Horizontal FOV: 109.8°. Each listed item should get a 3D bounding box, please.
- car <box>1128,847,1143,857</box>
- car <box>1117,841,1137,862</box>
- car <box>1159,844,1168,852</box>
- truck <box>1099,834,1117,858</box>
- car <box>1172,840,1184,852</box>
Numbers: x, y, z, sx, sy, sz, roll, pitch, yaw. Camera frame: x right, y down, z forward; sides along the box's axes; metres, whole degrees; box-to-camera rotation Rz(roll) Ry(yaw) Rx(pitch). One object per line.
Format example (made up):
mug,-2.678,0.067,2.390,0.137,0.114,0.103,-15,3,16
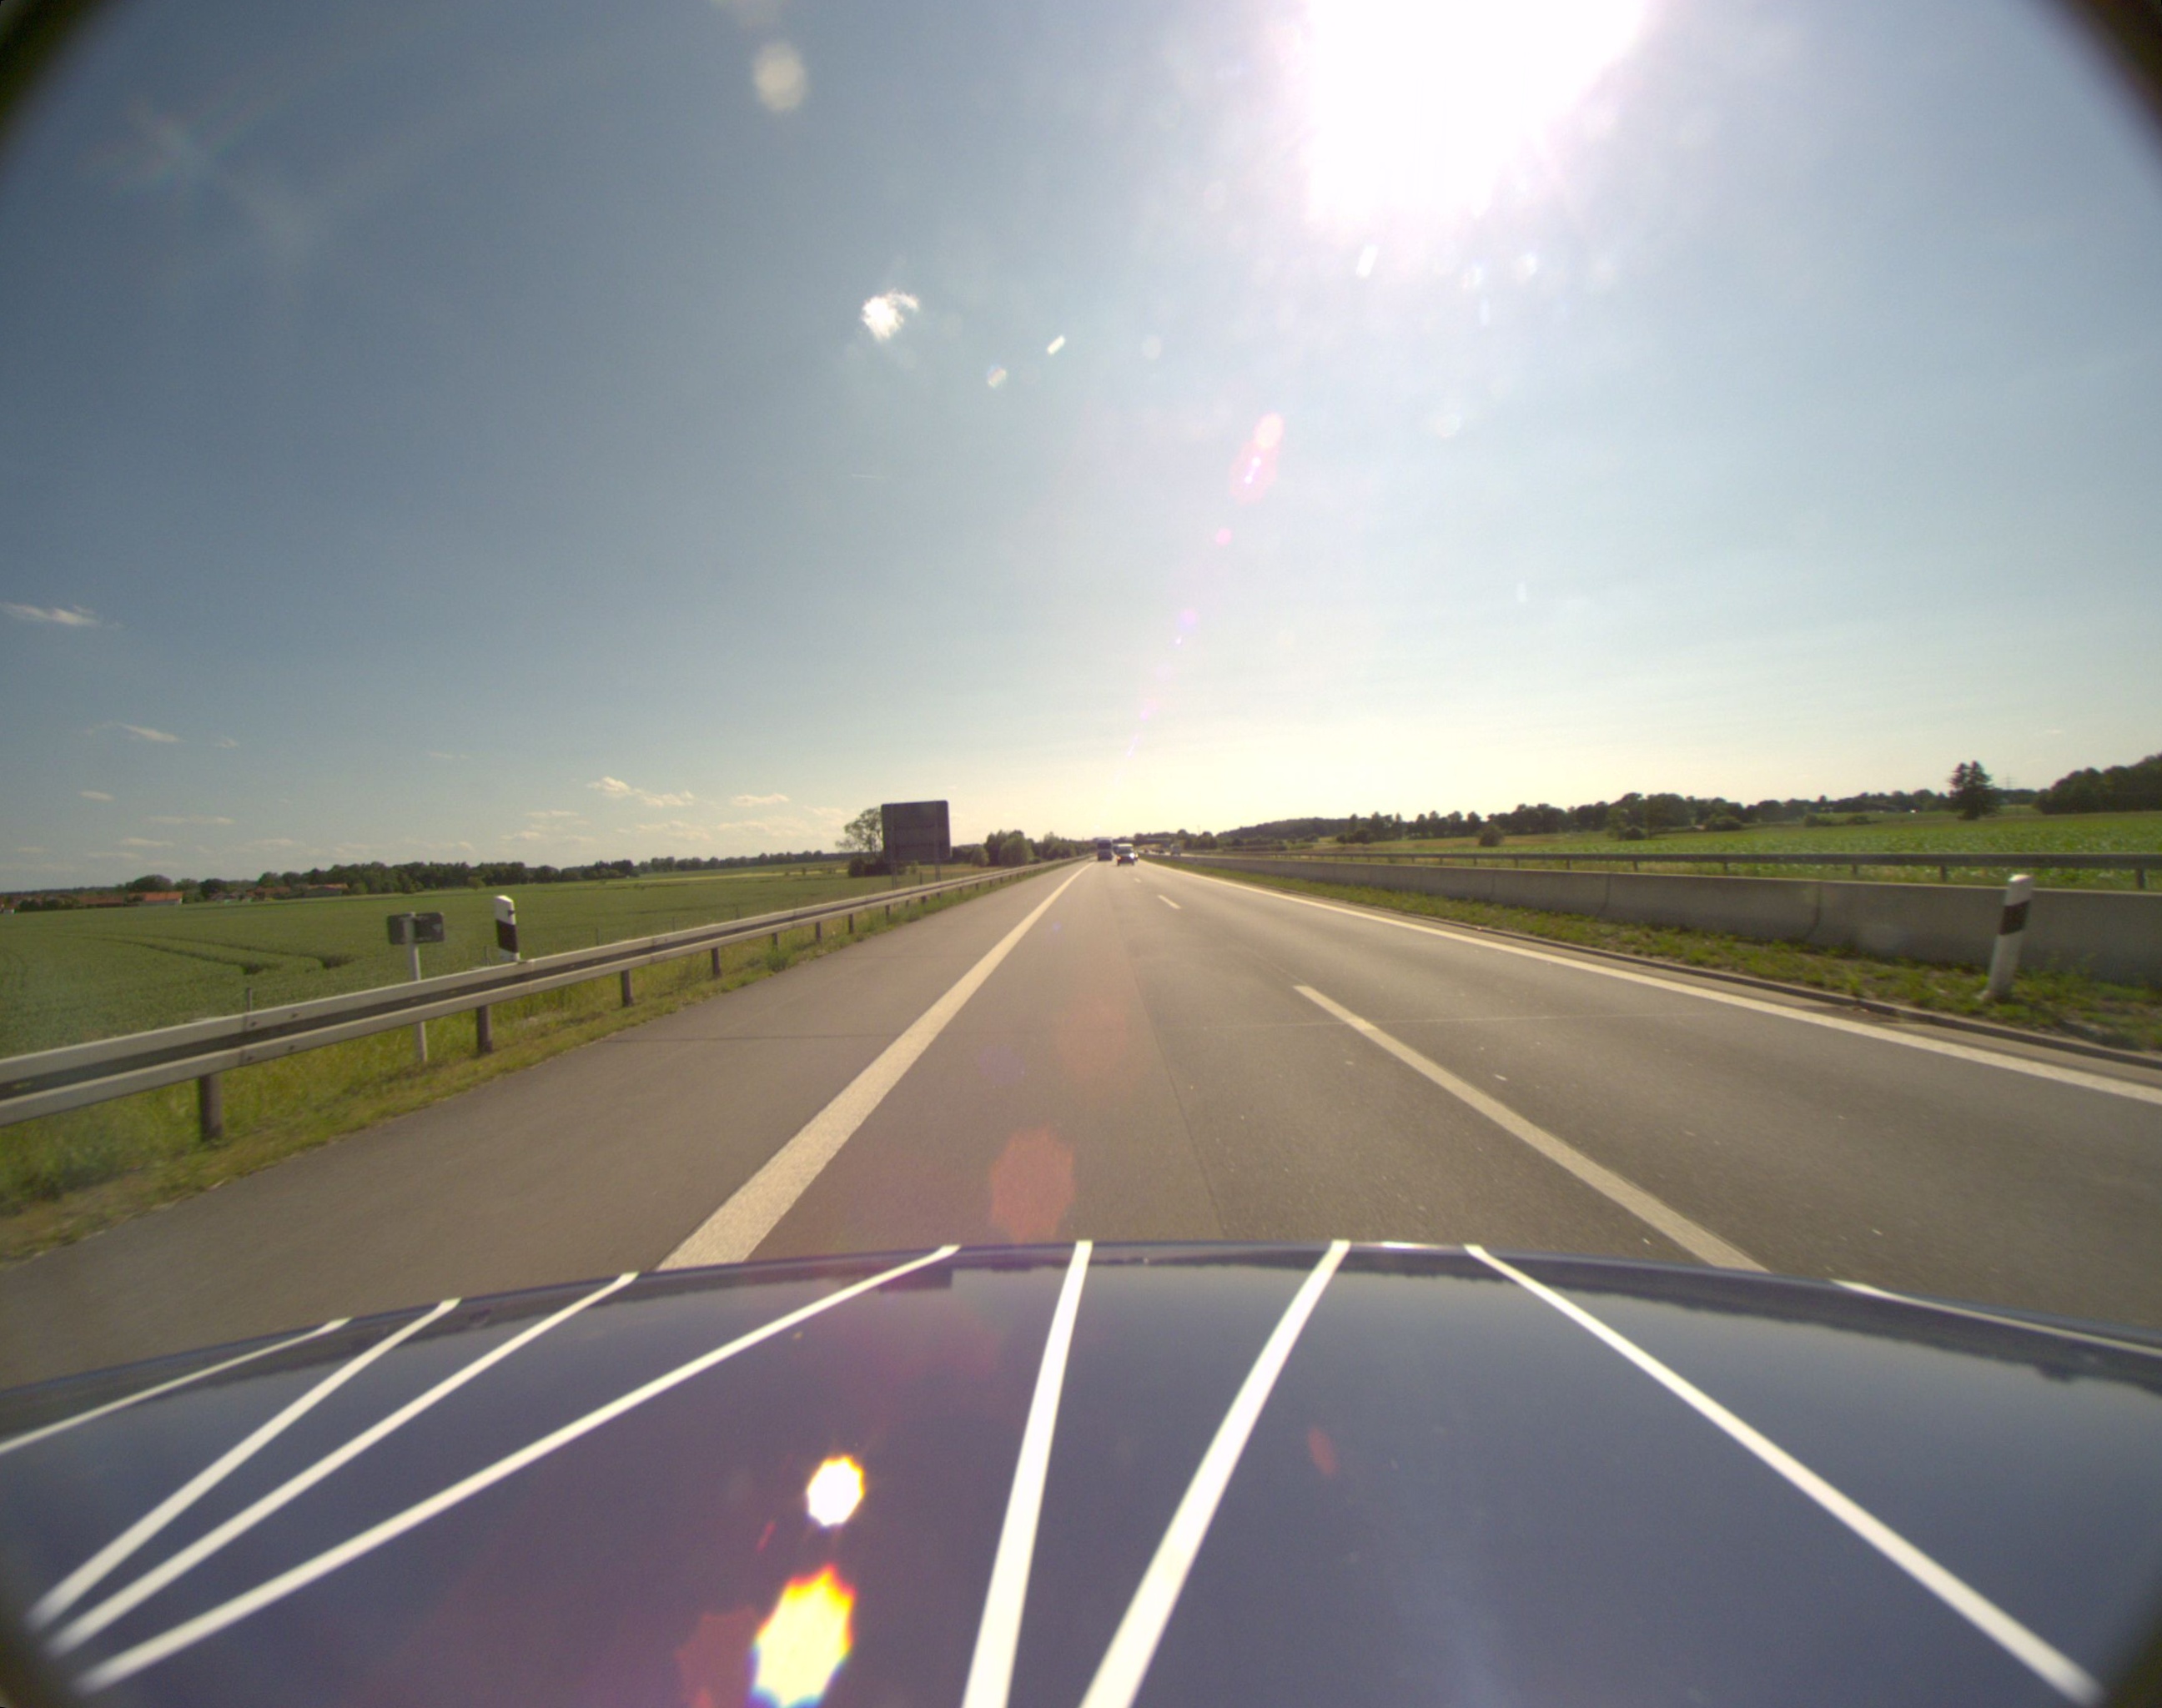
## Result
car,8.344,-0.312,116.686,2.030,1.600,4.819,-1,0,2
car,5.065,-0.269,84.540,2.030,2.225,4.819,-2,0,3
car,24.592,-1.683,226.532,2.392,2.230,5.455,-1,0,4
truck,4.670,-1.403,131.178,2.762,3.792,7.518,-3,1,3
car,21.840,-1.844,171.245,2.392,2.543,5.456,-1,0,5
